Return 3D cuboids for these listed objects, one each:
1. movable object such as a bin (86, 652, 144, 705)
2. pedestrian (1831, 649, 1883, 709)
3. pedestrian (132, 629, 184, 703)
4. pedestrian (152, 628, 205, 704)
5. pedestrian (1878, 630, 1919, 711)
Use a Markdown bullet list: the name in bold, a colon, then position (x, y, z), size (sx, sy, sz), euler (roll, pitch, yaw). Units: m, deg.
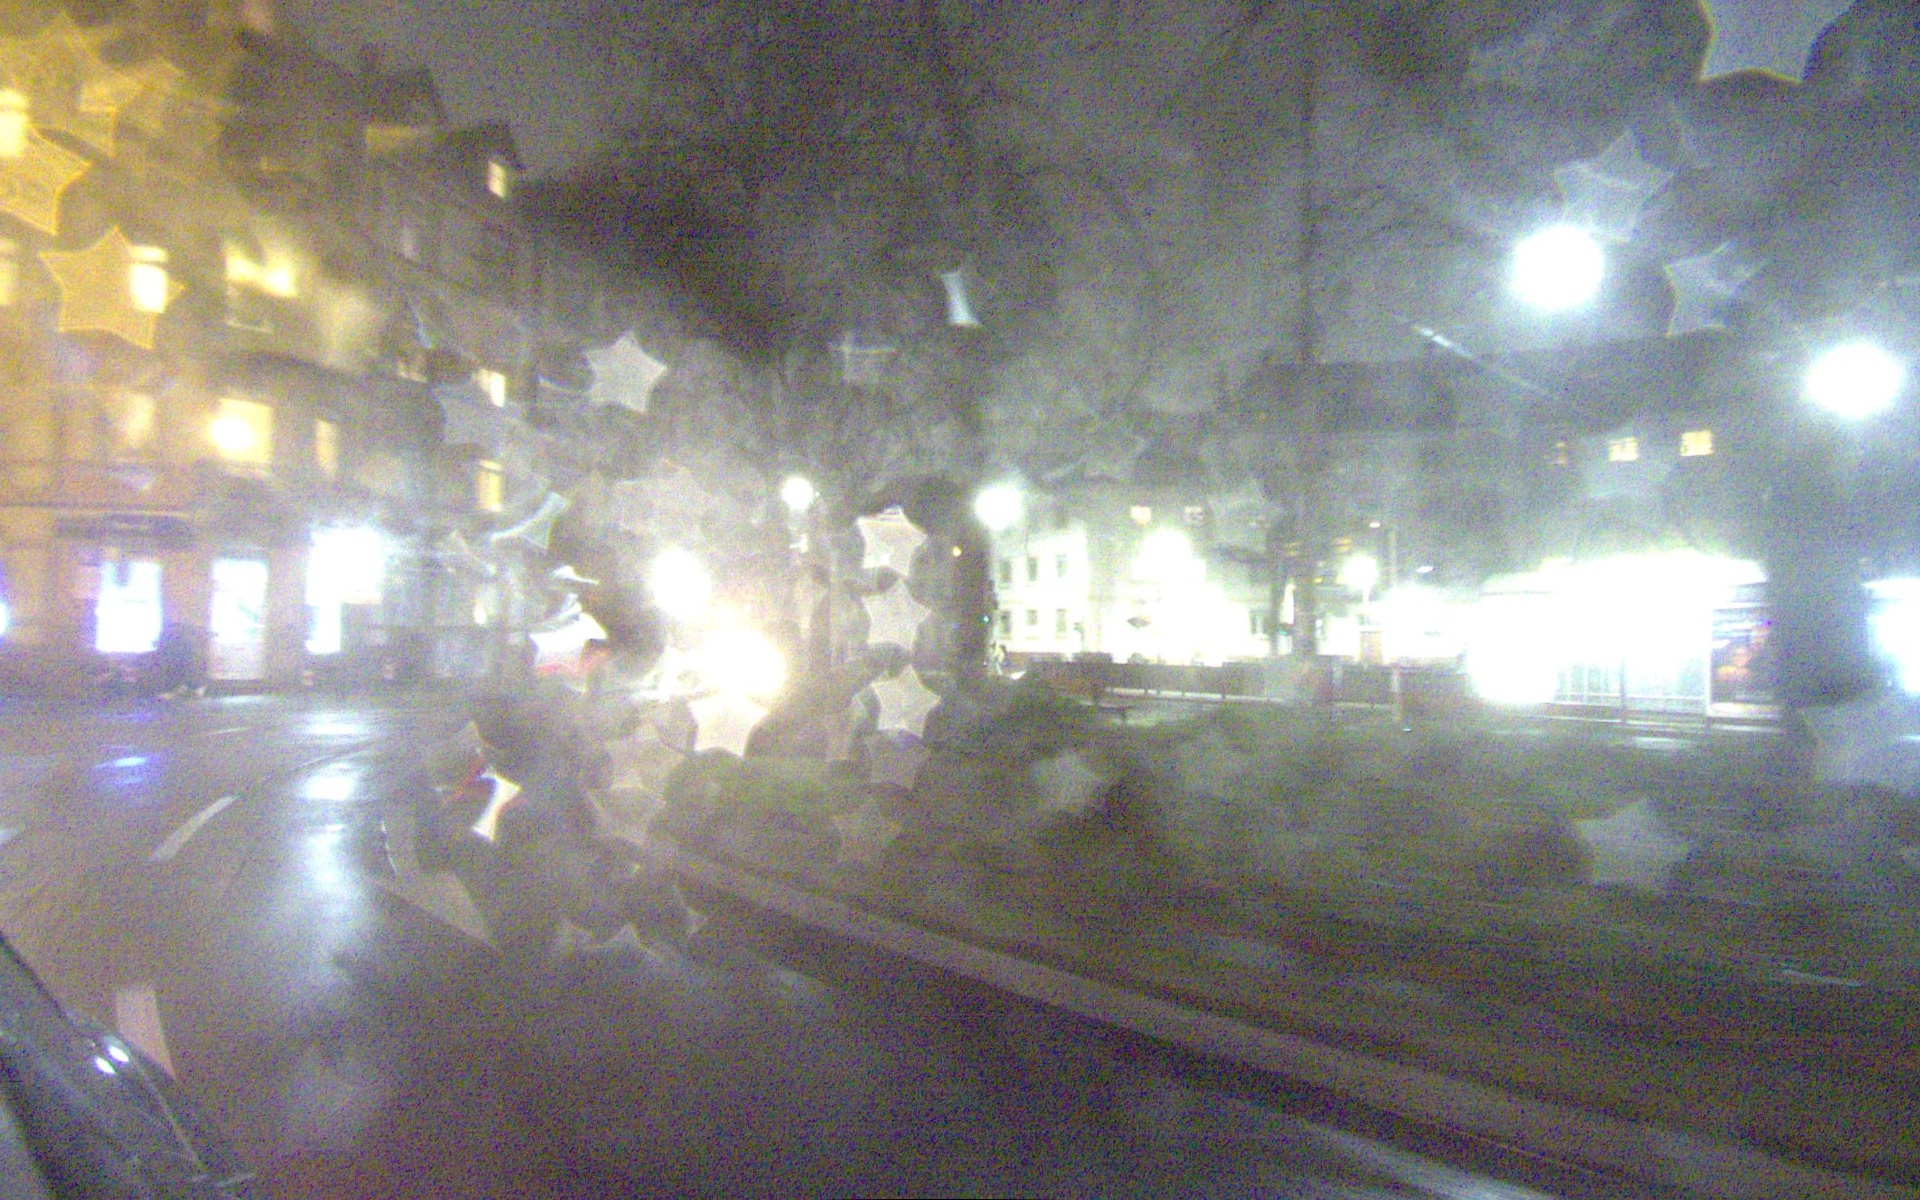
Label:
- **movable object such as a bin**: position (-19.186, 1.772, 22.983), size (0.907, 1.124, 0.636), euler (-1, -1, -31)
- **pedestrian**: position (19.578, 1.712, 22.102), size (0.618, 1.263, 0.582), euler (-1, 0, 14)
- **pedestrian**: position (-18.524, 1.507, 23.388), size (0.829, 1.650, 0.636), euler (-1, -1, -31)
- **pedestrian**: position (-17.768, 1.488, 23.029), size (0.859, 1.650, 0.636), euler (-1, -1, -31)
- **pedestrian**: position (19.918, 1.479, 21.344), size (0.554, 1.664, 0.582), euler (-1, -1, 13)
